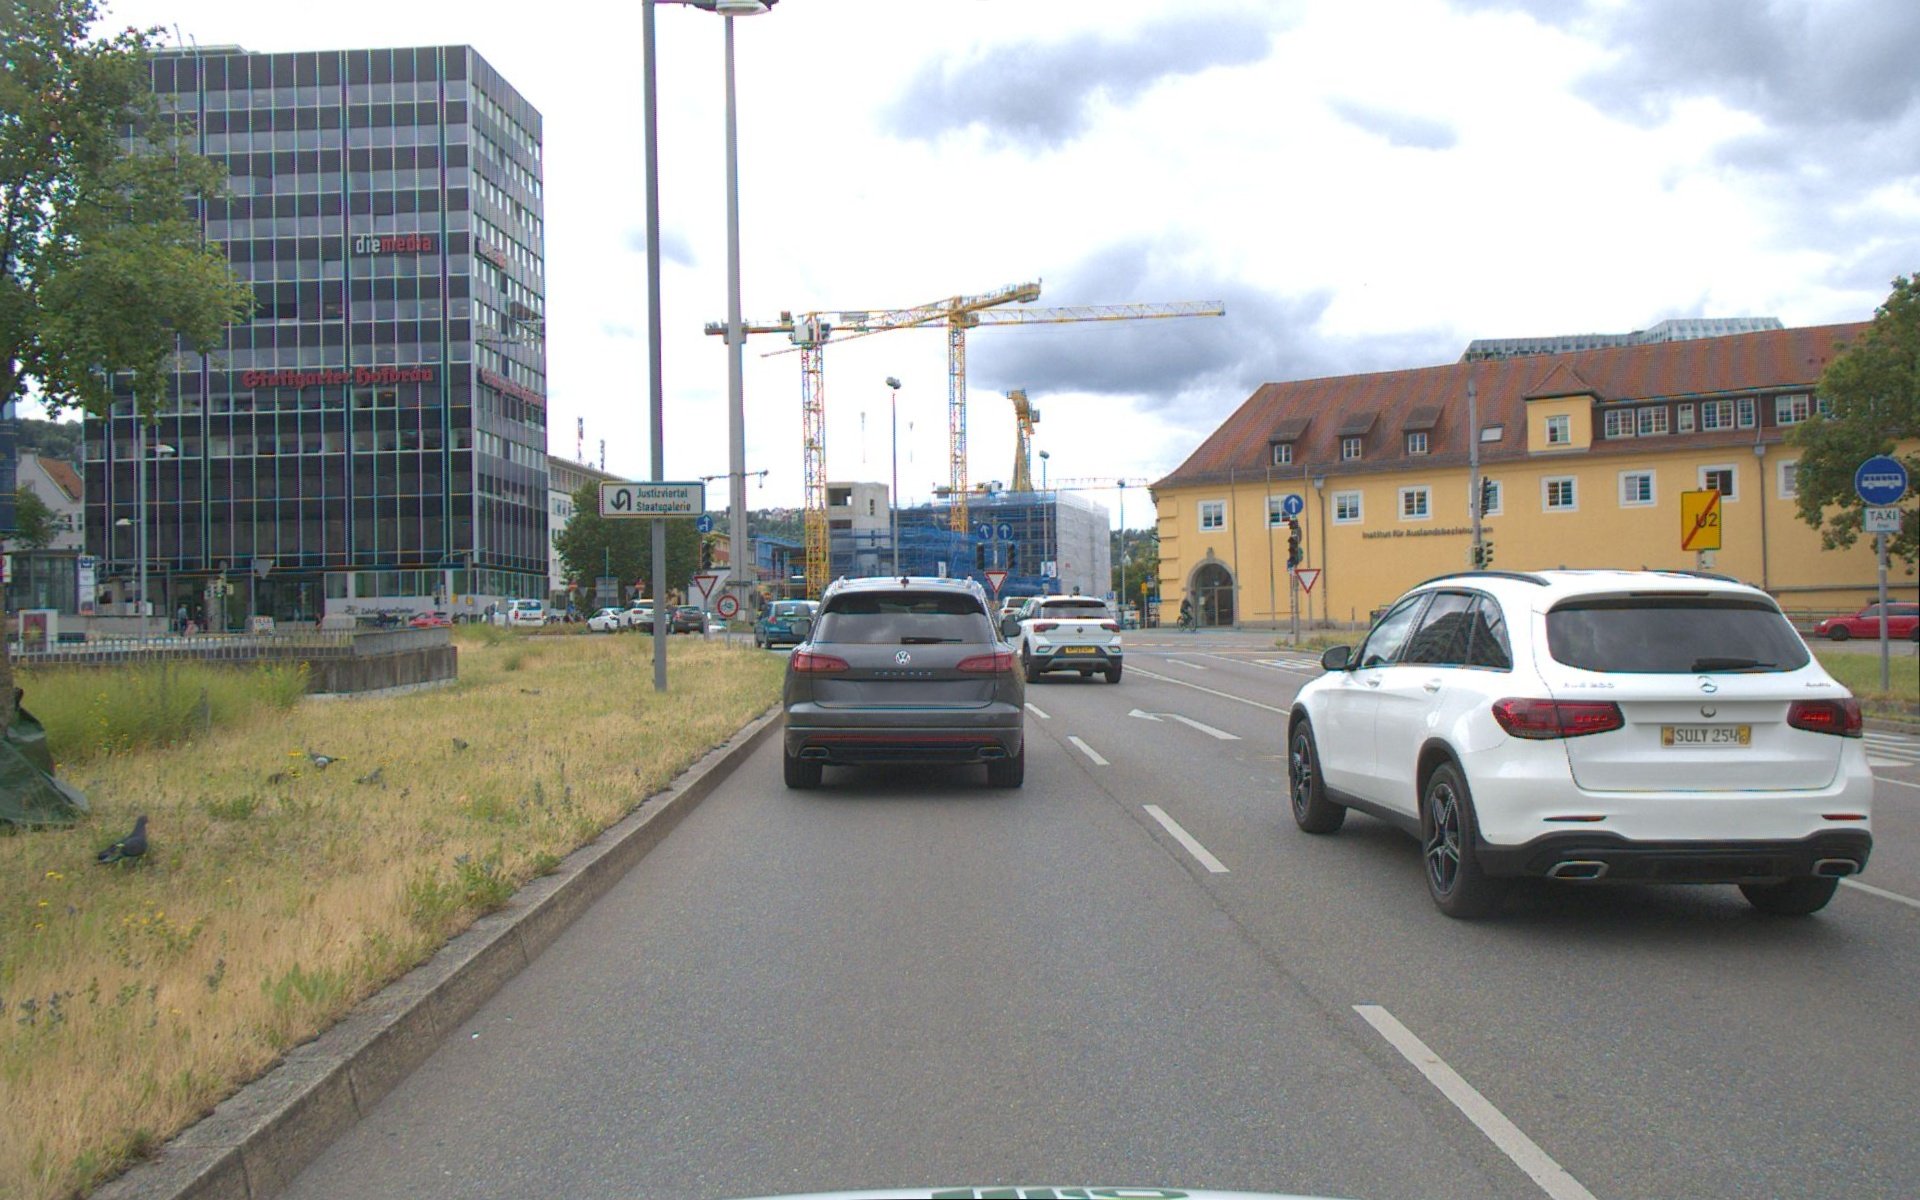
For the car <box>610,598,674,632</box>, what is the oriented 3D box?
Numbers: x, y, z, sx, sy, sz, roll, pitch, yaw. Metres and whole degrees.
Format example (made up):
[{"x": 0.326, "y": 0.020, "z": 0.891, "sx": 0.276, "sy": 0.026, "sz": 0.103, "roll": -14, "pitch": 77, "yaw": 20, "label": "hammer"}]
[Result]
[{"x": -15.035, "y": 0.680, "z": 77.983, "sx": 1.795, "sy": 1.522, "sz": 3.866, "roll": 0, "pitch": 0, "yaw": -30, "label": "car"}]

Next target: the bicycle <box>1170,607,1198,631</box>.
[{"x": 11.672, "y": 0.985, "z": 86.271, "sx": 0.905, "sy": 1.179, "sz": 2.462, "roll": 0, "pitch": 0, "yaw": -5, "label": "bicycle"}]

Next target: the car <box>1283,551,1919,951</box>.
[{"x": 3.171, "y": 0.617, "z": 9.183, "sx": 1.782, "sy": 1.676, "sz": 4.377, "roll": 0, "pitch": 0, "yaw": -2, "label": "car"}]

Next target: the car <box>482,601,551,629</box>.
[{"x": -26.110, "y": 0.858, "z": 97.204, "sx": 2.231, "sy": 1.529, "sz": 4.544, "roll": -1, "pitch": 0, "yaw": -40, "label": "car"}]

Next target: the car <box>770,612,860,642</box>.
[{"x": -5.856, "y": 1.065, "z": 66.424, "sx": 1.659, "sy": 1.159, "sz": 4.013, "roll": 0, "pitch": 0, "yaw": -39, "label": "car"}]

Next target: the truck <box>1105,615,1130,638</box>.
[{"x": 17.436, "y": 2.926, "z": 183.282, "sx": 2.082, "sy": 2.496, "sz": 4.831, "roll": 0, "pitch": 0, "yaw": 14, "label": "truck"}]

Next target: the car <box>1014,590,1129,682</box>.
[{"x": 2.034, "y": 0.621, "z": 31.121, "sx": 1.855, "sy": 1.613, "sz": 3.800, "roll": 0, "pitch": 0, "yaw": -1, "label": "car"}]

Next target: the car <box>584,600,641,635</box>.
[{"x": -20.220, "y": 0.972, "z": 96.115, "sx": 1.878, "sy": 1.638, "sz": 3.953, "roll": -4, "pitch": 6, "yaw": -34, "label": "car"}]

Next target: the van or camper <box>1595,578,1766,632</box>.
[{"x": 28.337, "y": 0.219, "z": 65.152, "sx": 5.901, "sy": 2.049, "sz": 2.013, "roll": -1, "pitch": 0, "yaw": 35, "label": "van or camper"}]

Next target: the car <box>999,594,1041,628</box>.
[{"x": 2.833, "y": 0.502, "z": 79.182, "sx": 1.766, "sy": 1.529, "sz": 3.980, "roll": 0, "pitch": 0, "yaw": -2, "label": "car"}]

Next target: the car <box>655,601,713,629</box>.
[{"x": -14.202, "y": 0.754, "z": 84.925, "sx": 1.626, "sy": 1.421, "sz": 3.554, "roll": 0, "pitch": 0, "yaw": -34, "label": "car"}]

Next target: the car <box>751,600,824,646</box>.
[{"x": -5.490, "y": 0.706, "z": 52.235, "sx": 1.763, "sy": 1.380, "sz": 4.055, "roll": 0, "pitch": 0, "yaw": -14, "label": "car"}]

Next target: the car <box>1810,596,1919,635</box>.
[{"x": 34.128, "y": 0.574, "z": 61.307, "sx": 4.591, "sy": 1.445, "sz": 1.593, "roll": -1, "pitch": 0, "yaw": 31, "label": "car"}]

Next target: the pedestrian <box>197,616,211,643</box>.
[{"x": -45.623, "y": 1.757, "z": 99.842, "sx": 0.618, "sy": 1.621, "sz": 0.582, "roll": 1, "pitch": -1, "yaw": -41, "label": "pedestrian"}]

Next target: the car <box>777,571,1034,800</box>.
[{"x": -0.437, "y": 0.613, "z": 14.214, "sx": 1.893, "sy": 1.676, "sz": 3.999, "roll": 0, "pitch": 0, "yaw": -1, "label": "car"}]

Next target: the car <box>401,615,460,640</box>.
[{"x": -33.271, "y": 1.733, "z": 103.928, "sx": 3.905, "sy": 1.529, "sz": 1.716, "roll": 0, "pitch": 0, "yaw": 39, "label": "car"}]

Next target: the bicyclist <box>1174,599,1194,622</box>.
[{"x": 11.676, "y": 0.535, "z": 86.269, "sx": 0.905, "sy": 1.179, "sz": 0.724, "roll": 0, "pitch": 0, "yaw": -6, "label": "bicyclist"}]

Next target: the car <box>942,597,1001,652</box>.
[{"x": 0.337, "y": 0.686, "z": 49.294, "sx": 1.683, "sy": 1.529, "sz": 4.144, "roll": 0, "pitch": 0, "yaw": 0, "label": "car"}]
